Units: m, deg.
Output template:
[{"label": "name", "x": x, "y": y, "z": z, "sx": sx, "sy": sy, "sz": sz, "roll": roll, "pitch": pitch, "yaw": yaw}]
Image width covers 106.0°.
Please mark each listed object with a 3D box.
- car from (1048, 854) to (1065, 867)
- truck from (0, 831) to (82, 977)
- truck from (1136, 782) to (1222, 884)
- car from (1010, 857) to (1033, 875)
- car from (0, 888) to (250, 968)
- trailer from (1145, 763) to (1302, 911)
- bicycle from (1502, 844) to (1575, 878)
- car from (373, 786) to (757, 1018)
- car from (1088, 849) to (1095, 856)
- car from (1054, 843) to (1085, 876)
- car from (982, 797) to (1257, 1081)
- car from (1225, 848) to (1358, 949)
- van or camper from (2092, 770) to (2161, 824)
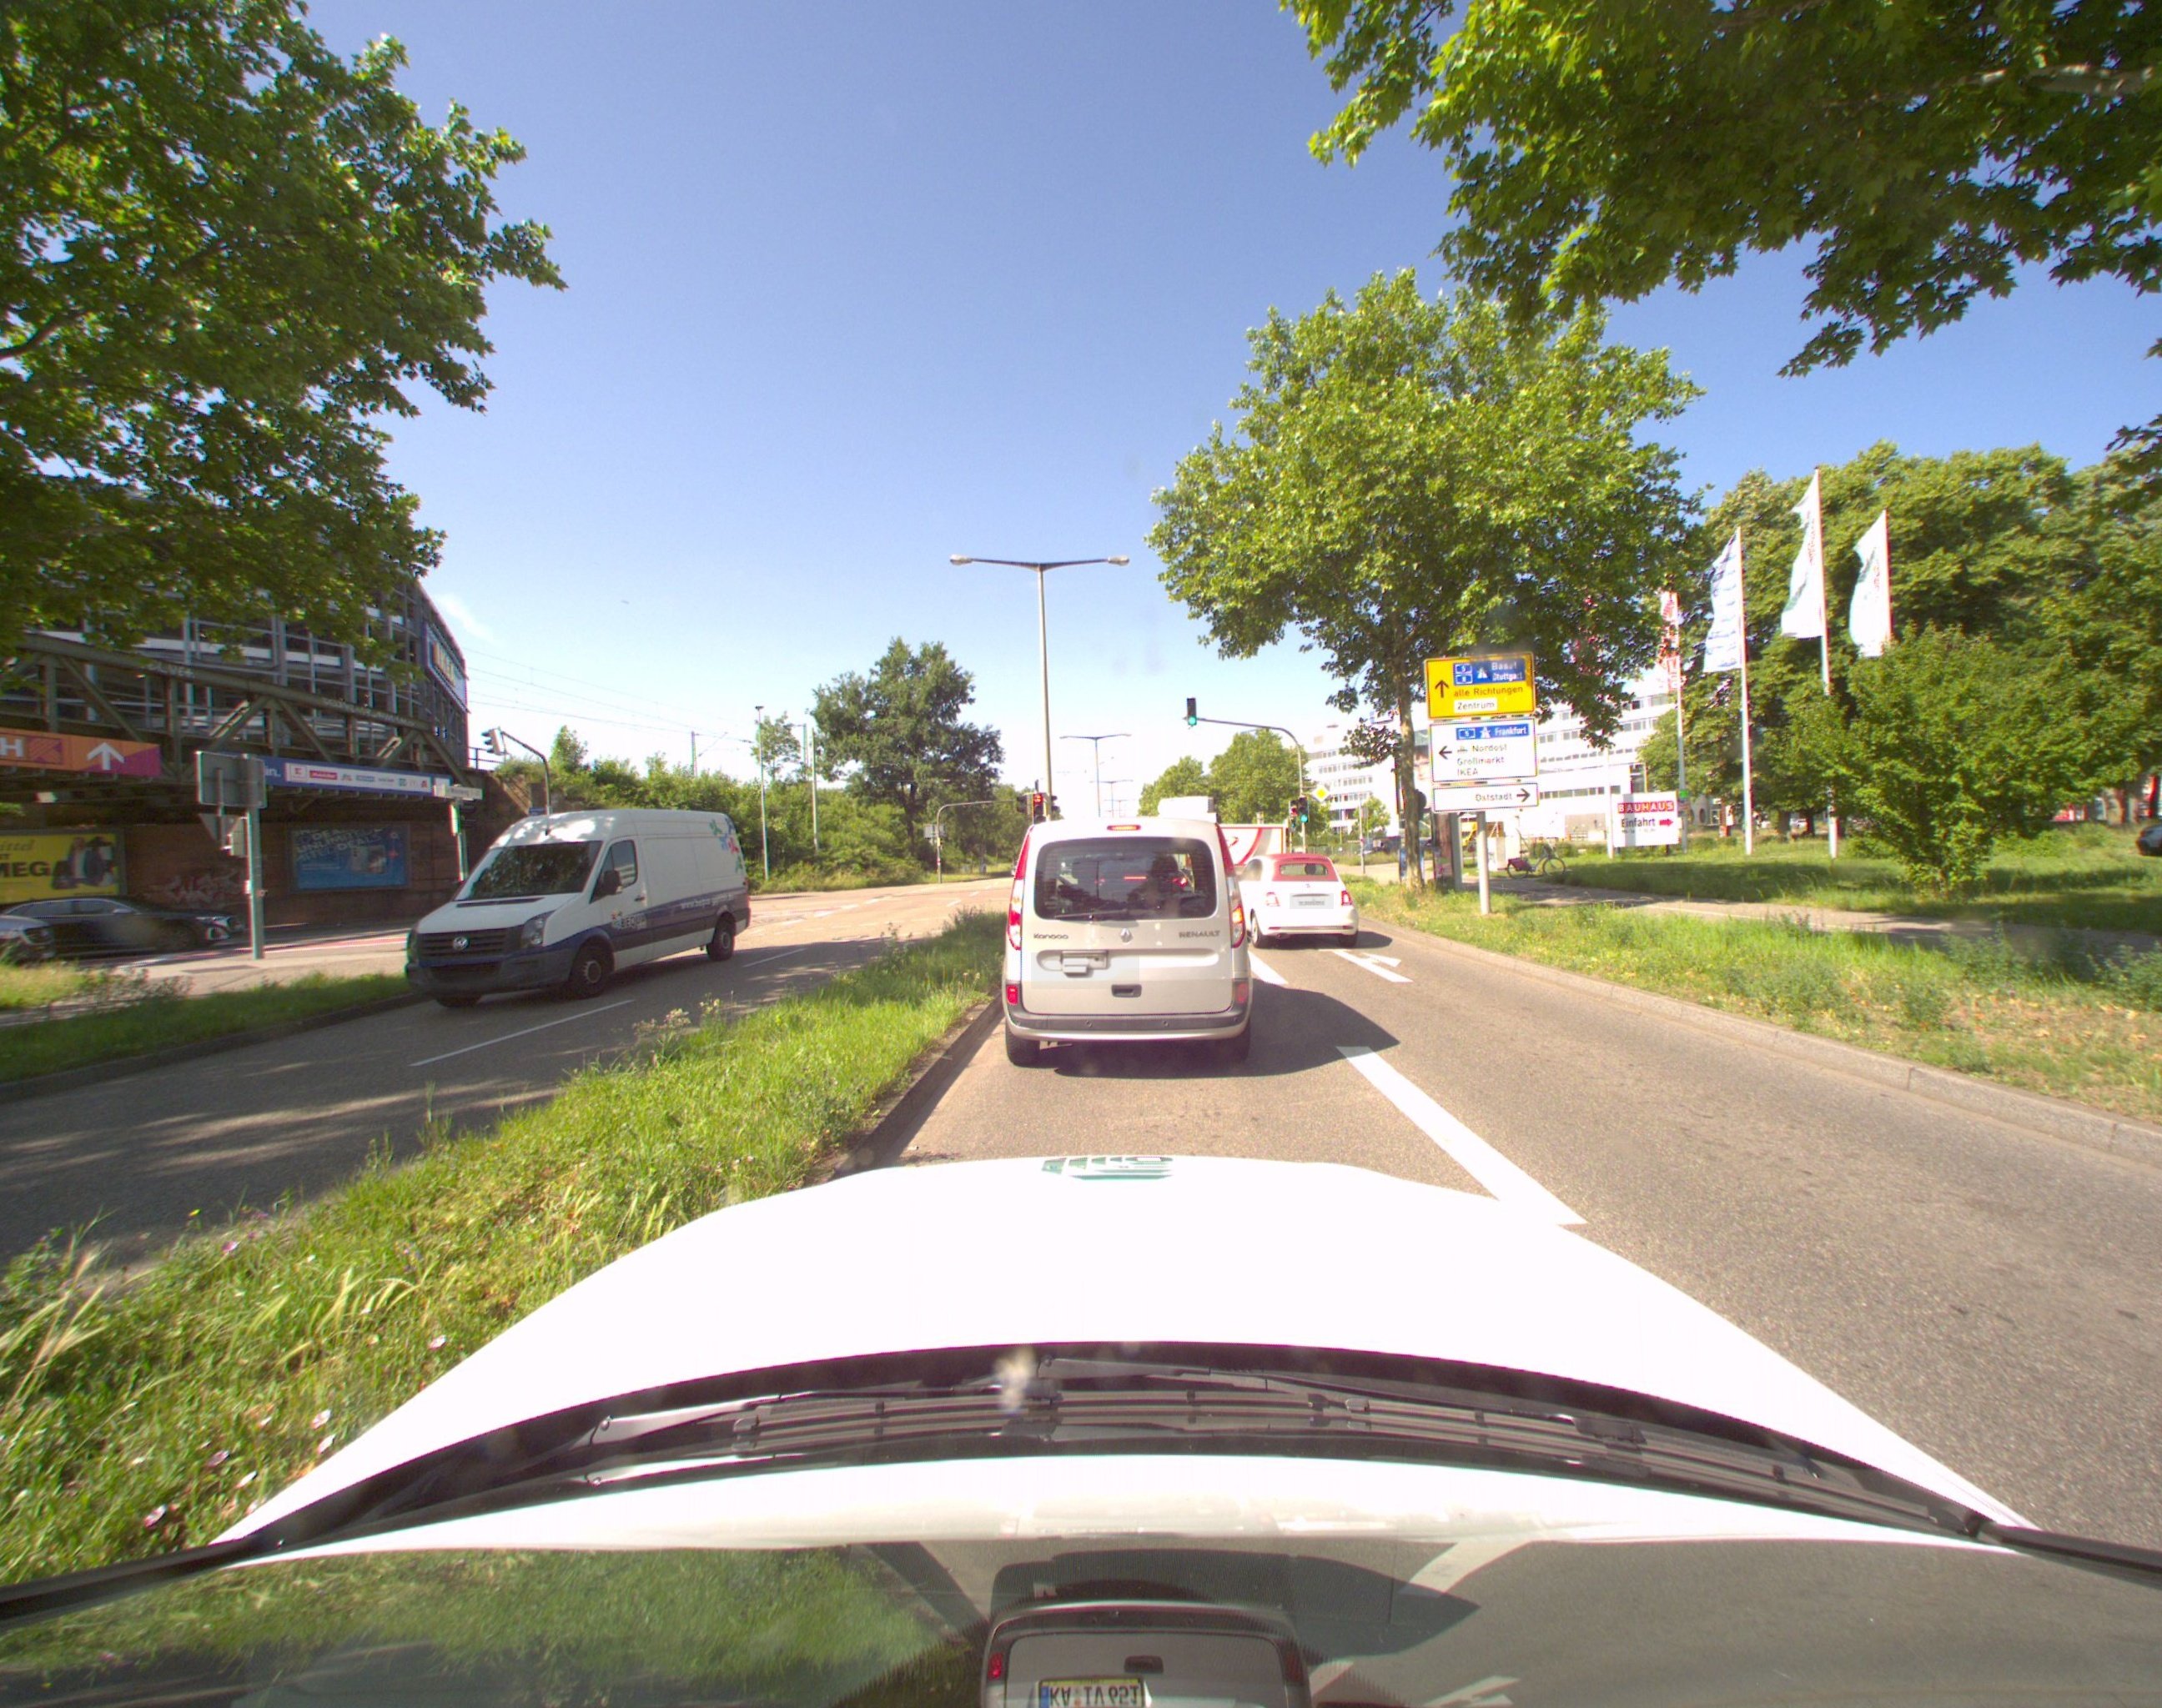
[{"label": "car", "x": -3.540, "y": 0.943, "z": 118.542, "sx": 1.902, "sy": 1.641, "sz": 3.742, "roll": -3, "pitch": -1, "yaw": 5}, {"label": "truck", "x": -26.322, "y": 1.272, "z": 16.693, "sx": 6.890, "sy": 3.105, "sz": 2.196, "roll": -4, "pitch": 1, "yaw": -32}, {"label": "truck", "x": 4.127, "y": -0.715, "z": 32.856, "sx": 2.892, "sy": 3.643, "sz": 7.211, "roll": -1, "pitch": -1, "yaw": 11}, {"label": "car", "x": -5.588, "y": 1.133, "z": 77.302, "sx": 1.693, "sy": 1.508, "sz": 4.002, "roll": -2, "pitch": 0, "yaw": 2}, {"label": "car", "x": -25.802, "y": 1.917, "z": 22.172, "sx": 4.015, "sy": 1.646, "sz": 1.885, "roll": -4, "pitch": 1, "yaw": -32}, {"label": "trailer", "x": 3.986, "y": -0.373, "z": 26.317, "sx": 2.890, "sy": 3.622, "sz": 12.684, "roll": 0, "pitch": 0, "yaw": 0}, {"label": "bicycle", "x": 14.988, "y": 0.222, "z": 26.738, "sx": 1.985, "sy": 1.014, "sz": 0.624, "roll": -3, "pitch": 0, "yaw": 18}, {"label": "car", "x": -7.318, "y": 0.585, "z": 12.615, "sx": 1.986, "sy": 2.662, "sz": 5.788, "roll": -3, "pitch": 0, "yaw": 2}, {"label": "car", "x": 3.266, "y": -0.357, "z": 250.723, "sx": 1.880, "sy": 2.014, "sz": 4.004, "roll": 0, "pitch": -1, "yaw": 4}, {"label": "car", "x": -0.934, "y": 0.459, "z": 69.897, "sx": 1.984, "sy": 2.607, "sz": 5.140, "roll": -3, "pitch": -1, "yaw": 5}, {"label": "car", "x": 0.312, "y": 0.569, "z": 7.308, "sx": 1.779, "sy": 1.838, "sz": 4.001, "roll": 0, "pitch": -1, "yaw": 2}, {"label": "car", "x": 3.491, "y": 0.689, "z": 14.015, "sx": 1.532, "sy": 1.514, "sz": 3.261, "roll": 0, "pitch": -1, "yaw": 2}, {"label": "van or camper", "x": 63.643, "y": -3.380, "z": 46.516, "sx": 2.007, "sy": 2.942, "sz": 7.213, "roll": 0, "pitch": -1, "yaw": -32}]
